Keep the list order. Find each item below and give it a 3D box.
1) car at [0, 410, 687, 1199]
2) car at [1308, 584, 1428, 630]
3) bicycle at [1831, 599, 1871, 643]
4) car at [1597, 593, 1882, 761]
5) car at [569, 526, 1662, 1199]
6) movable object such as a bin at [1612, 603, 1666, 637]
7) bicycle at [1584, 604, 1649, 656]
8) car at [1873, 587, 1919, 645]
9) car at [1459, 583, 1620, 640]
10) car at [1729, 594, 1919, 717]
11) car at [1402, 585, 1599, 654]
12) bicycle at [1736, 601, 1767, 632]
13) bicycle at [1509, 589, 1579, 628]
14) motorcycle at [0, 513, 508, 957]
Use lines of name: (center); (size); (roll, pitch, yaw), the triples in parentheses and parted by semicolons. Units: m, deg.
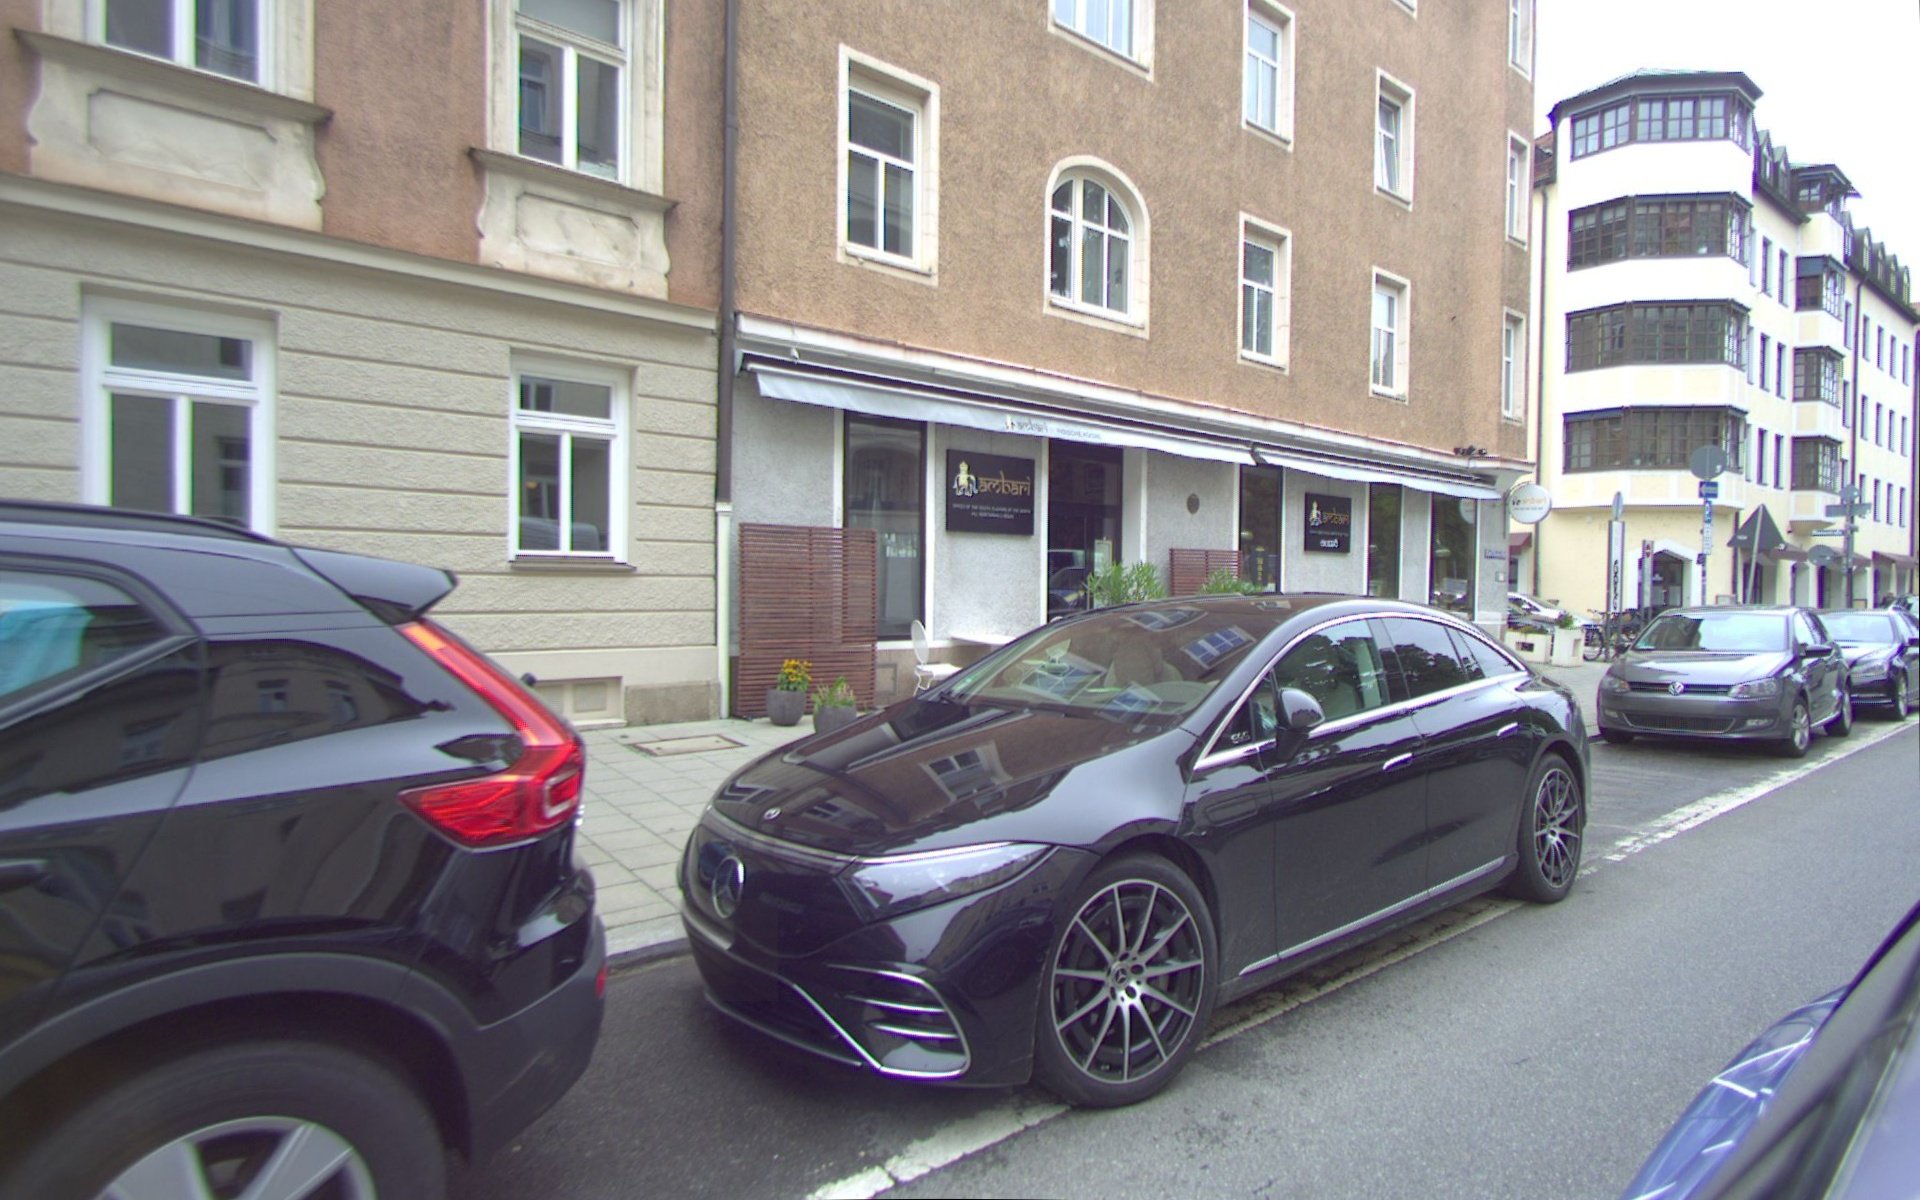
car: (-2.801, 0.604, 1.464); (4.327, 1.698, 1.697); (-1, -1, -38)
car: (13.842, 0.200, 34.497); (1.608, 1.353, 3.457); (-1, 3, -35)
bicycle: (25.300, 0.578, 28.723); (2.015, 1.173, 0.430); (-1, 3, -38)
car: (8.467, 0.670, 10.861); (4.109, 1.411, 1.575); (-1, 2, -40)
car: (1.297, 0.608, 4.752); (5.537, 1.572, 1.935); (0, 1, -40)
movable object such as a bin: (19.721, 0.572, 29.408); (0.671, 0.911, 1.126); (0, 2, -37)
bicycle: (13.669, 0.622, 21.059); (1.769, 1.017, 0.497); (1, 2, -36)
car: (29.174, 0.457, 30.224); (4.415, 1.642, 2.112); (0, 1, -38)
car: (17.100, 0.314, 30.013); (1.717, 1.458, 3.748); (3, 0, -34)
car: (12.606, 0.642, 14.195); (4.702, 1.422, 1.851); (0, 1, -39)
car: (13.318, 0.416, 25.110); (1.858, 1.506, 3.883); (-1, 2, -38)
bicycle: (25.218, 0.514, 32.222); (1.664, 0.912, 0.263); (-1, 6, -37)
bicycle: (19.010, 0.260, 32.987); (0.506, 1.201, 1.906); (0, 1, -37)
motorcycle: (-3.036, 0.454, 4.222); (1.960, 1.523, 0.874); (0, 1, -37)
